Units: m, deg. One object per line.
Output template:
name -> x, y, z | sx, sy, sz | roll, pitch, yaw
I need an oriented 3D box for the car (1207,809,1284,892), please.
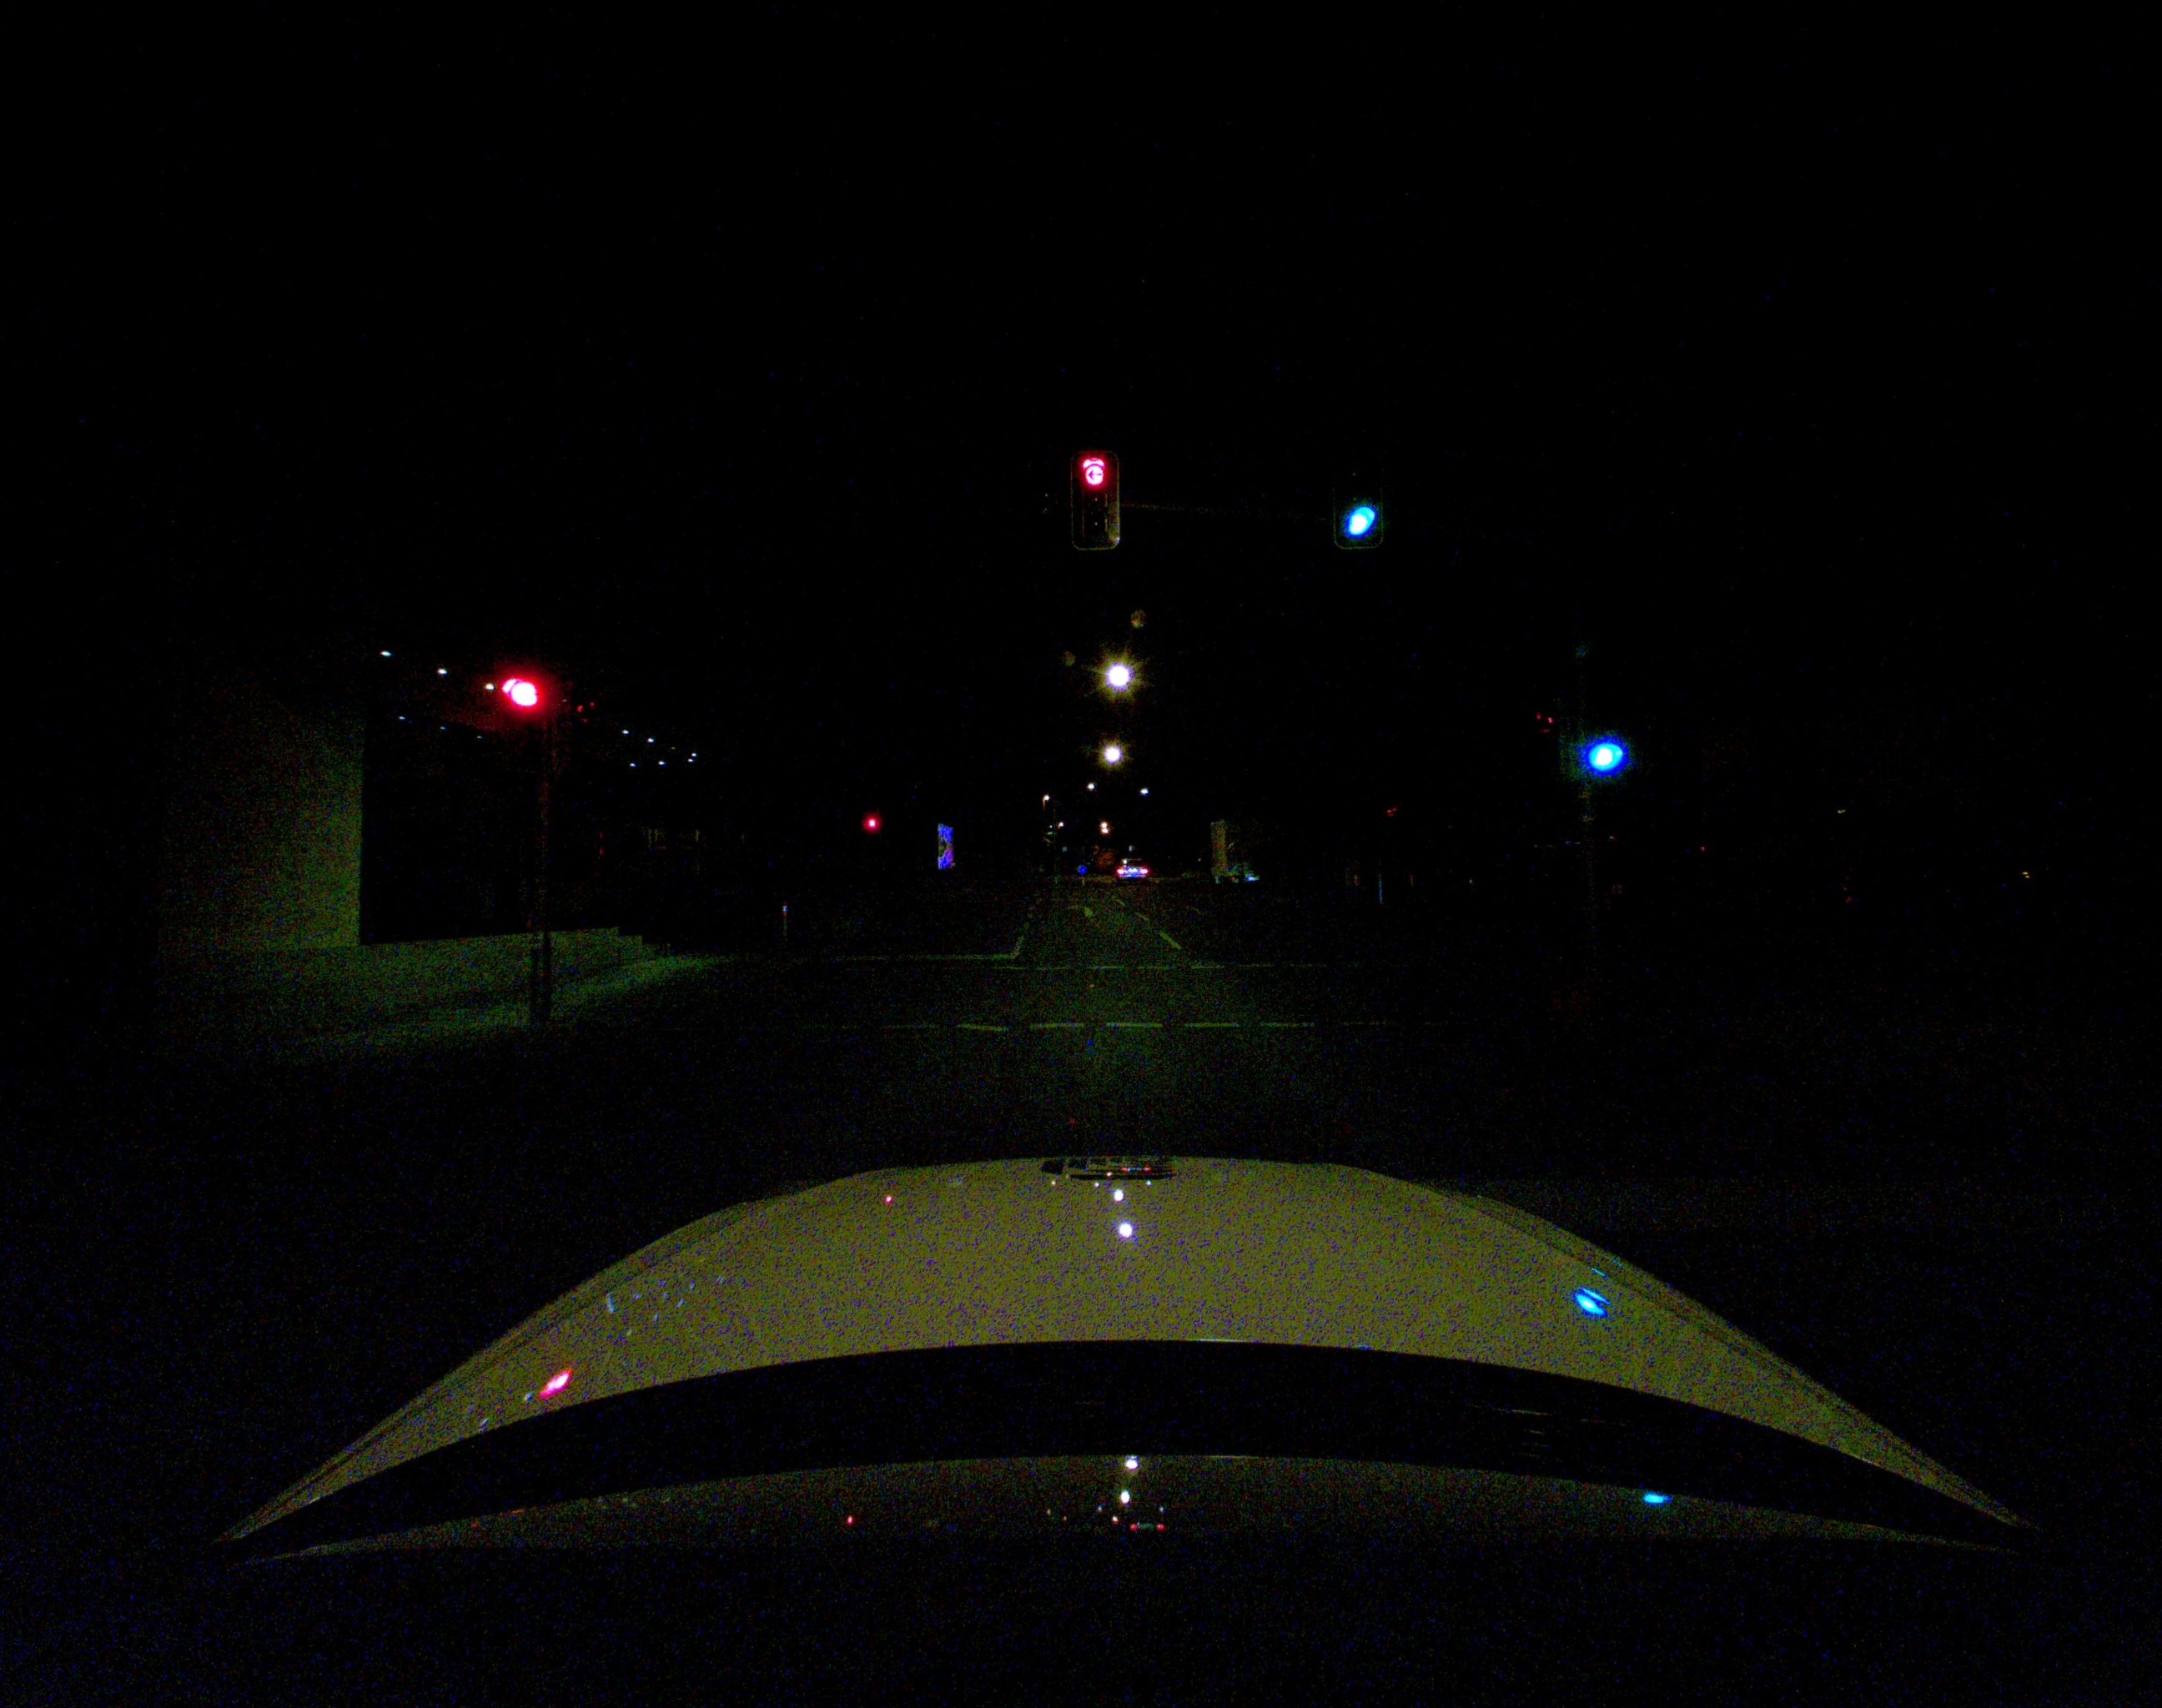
car -> 6.766, -0.117, 34.221 | 2.287, 3.093, 5.845 | -2, -1, 3

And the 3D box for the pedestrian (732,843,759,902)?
pedestrian -> -10.127, 0.555, 24.572 | 0.568, 1.731, 0.544 | 0, -1, 1

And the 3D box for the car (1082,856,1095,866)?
car -> 1.262, 1.183, 134.582 | 1.901, 1.557, 3.906 | 0, -1, 2

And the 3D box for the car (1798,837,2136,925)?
car -> 17.461, 0.567, 16.290 | 4.342, 1.560, 1.807 | -2, -3, 8

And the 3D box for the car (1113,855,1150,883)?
car -> 2.762, 0.820, 44.957 | 1.770, 1.486, 3.999 | 0, -1, 0

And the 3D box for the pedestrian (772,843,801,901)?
pedestrian -> -9.119, 0.554, 25.241 | 0.568, 1.778, 0.737 | 1, -1, 1
